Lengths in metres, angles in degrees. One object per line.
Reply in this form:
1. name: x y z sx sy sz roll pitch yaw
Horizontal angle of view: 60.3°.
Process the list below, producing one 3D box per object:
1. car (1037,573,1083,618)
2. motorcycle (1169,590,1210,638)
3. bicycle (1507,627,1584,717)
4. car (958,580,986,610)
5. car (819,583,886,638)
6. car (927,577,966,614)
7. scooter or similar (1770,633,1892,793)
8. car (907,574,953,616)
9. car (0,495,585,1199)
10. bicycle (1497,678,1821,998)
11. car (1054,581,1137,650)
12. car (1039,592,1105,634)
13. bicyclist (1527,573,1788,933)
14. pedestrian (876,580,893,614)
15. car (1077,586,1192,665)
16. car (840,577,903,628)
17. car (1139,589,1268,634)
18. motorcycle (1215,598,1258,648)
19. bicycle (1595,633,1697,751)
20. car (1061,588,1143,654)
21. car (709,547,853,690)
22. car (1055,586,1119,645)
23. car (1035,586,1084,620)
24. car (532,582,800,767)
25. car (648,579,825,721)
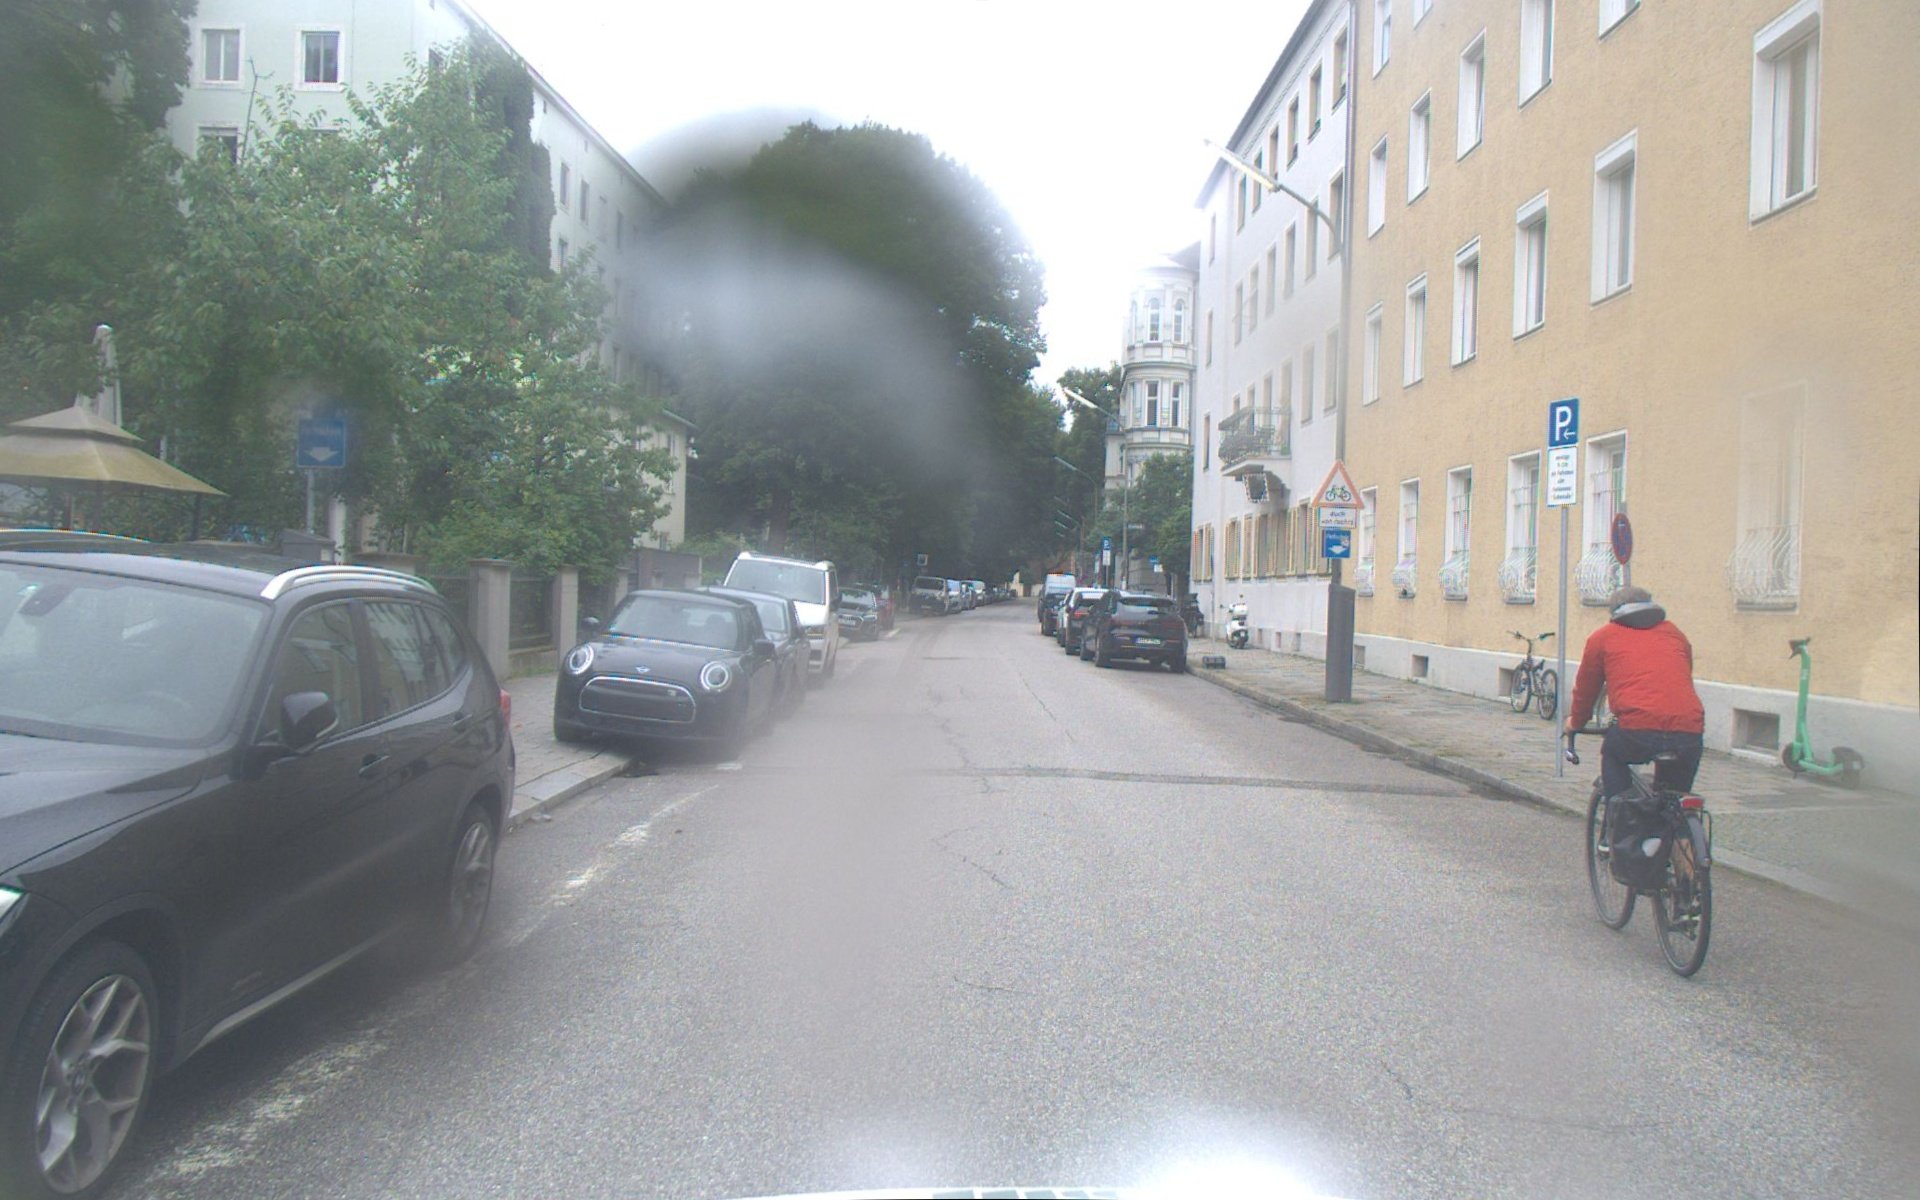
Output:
1. car: 5.139 -0.241 85.787 2.158 2.247 4.856 0 0 1
2. motorcycle: 7.328 0.437 52.950 0.839 1.458 2.706 2 0 -1
3. bicycle: 7.679 0.924 21.762 0.335 1.101 1.813 -1 0 -1
4. car: 0.991 -0.403 130.613 1.961 2.224 4.697 3 0 2
5. car: -3.071 0.275 48.051 1.771 1.426 4.922 3 0 -2
6. car: -0.753 -0.272 97.638 2.139 1.990 5.166 3 0 0
7. scooter or similar: 7.409 0.931 14.115 0.335 1.277 1.309 0 0 -1
8. car: -1.512 -0.273 85.934 2.202 1.990 5.453 3 0 0
9. car: -2.744 0.554 5.337 1.807 1.635 4.743 3 0 1
10. bicycle: 3.155 1.010 7.702 0.658 1.161 2.011 3 0 2
11. car: 3.816 0.405 47.208 1.953 1.736 4.535 4 0 0
12. car: 3.795 0.413 56.709 1.959 1.342 4.595 -1 0 0
13. bicyclist: 3.170 0.657 7.612 0.739 1.509 0.981 3 0 2
14. pedestrian: -3.612 -0.139 79.271 0.699 1.575 0.752 3 0 -3
15. car: 3.760 0.497 36.467 1.823 1.604 4.897 1 0 -2
16. car: -3.048 0.060 57.786 1.848 1.618 4.528 3 0 0
17. car: 9.572 0.440 65.353 4.805 1.558 1.914 1 3 0
18. motorcycle: 7.377 0.598 44.158 0.717 1.260 2.007 3 0 -1
19. bicycle: 7.395 0.961 17.899 0.335 1.155 1.759 1 1 -1
20. car: 3.546 0.492 41.905 1.800 1.558 4.416 1 0 1
21. car: -2.841 0.255 27.273 1.927 2.025 5.149 3 0 -2
22. car: 3.932 0.460 51.830 1.735 1.572 3.713 6 0 2
23. car: 4.781 0.150 78.829 2.224 1.573 4.589 0 0 5
24. car: -2.710 0.622 16.212 1.820 1.571 4.188 0 0 1
25. car: -2.751 0.550 21.301 1.849 1.570 4.693 2 1 -3
